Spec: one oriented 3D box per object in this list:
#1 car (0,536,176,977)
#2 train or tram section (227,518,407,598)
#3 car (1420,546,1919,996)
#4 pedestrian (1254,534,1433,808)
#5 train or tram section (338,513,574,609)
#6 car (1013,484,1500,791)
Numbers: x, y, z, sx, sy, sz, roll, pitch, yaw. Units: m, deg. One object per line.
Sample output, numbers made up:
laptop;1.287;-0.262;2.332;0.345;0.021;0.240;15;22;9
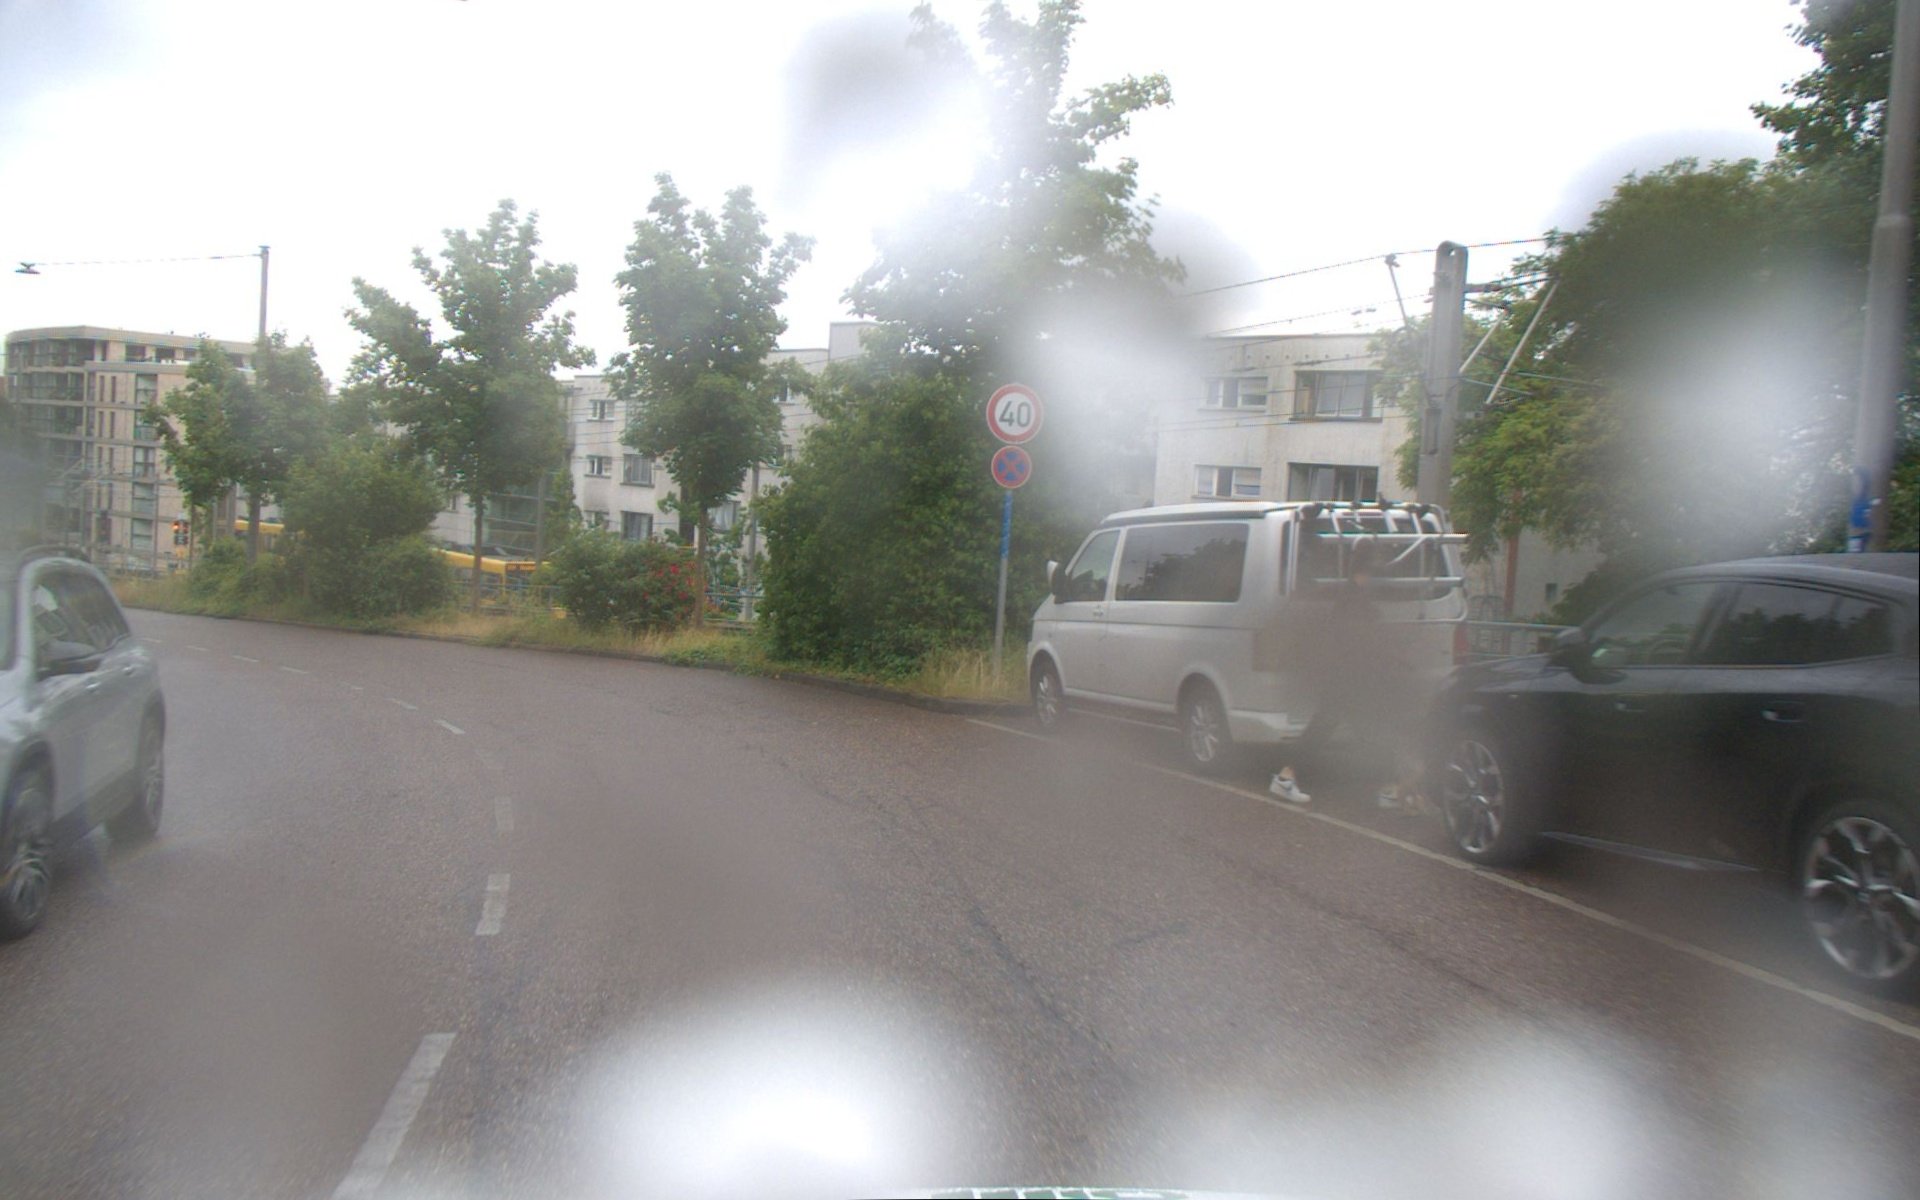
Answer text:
car;-5.146;0.569;8.112;1.789;1.698;4.288;0;1;-18
train or tram section;-36.146;-2.395;92.099;3.311;4.016;18.534;1;1;-41
car;3.874;0.574;7.296;1.689;1.583;4.261;0;1;-14
pedestrian;2.463;0.427;10.692;0.905;1.690;0.804;-1;2;-8
train or tram section;-24.310;-1.904;78.331;3.311;4.016;18.996;1;1;-41
car;2.156;0.191;13.563;1.849;2.048;4.664;0;1;-20
